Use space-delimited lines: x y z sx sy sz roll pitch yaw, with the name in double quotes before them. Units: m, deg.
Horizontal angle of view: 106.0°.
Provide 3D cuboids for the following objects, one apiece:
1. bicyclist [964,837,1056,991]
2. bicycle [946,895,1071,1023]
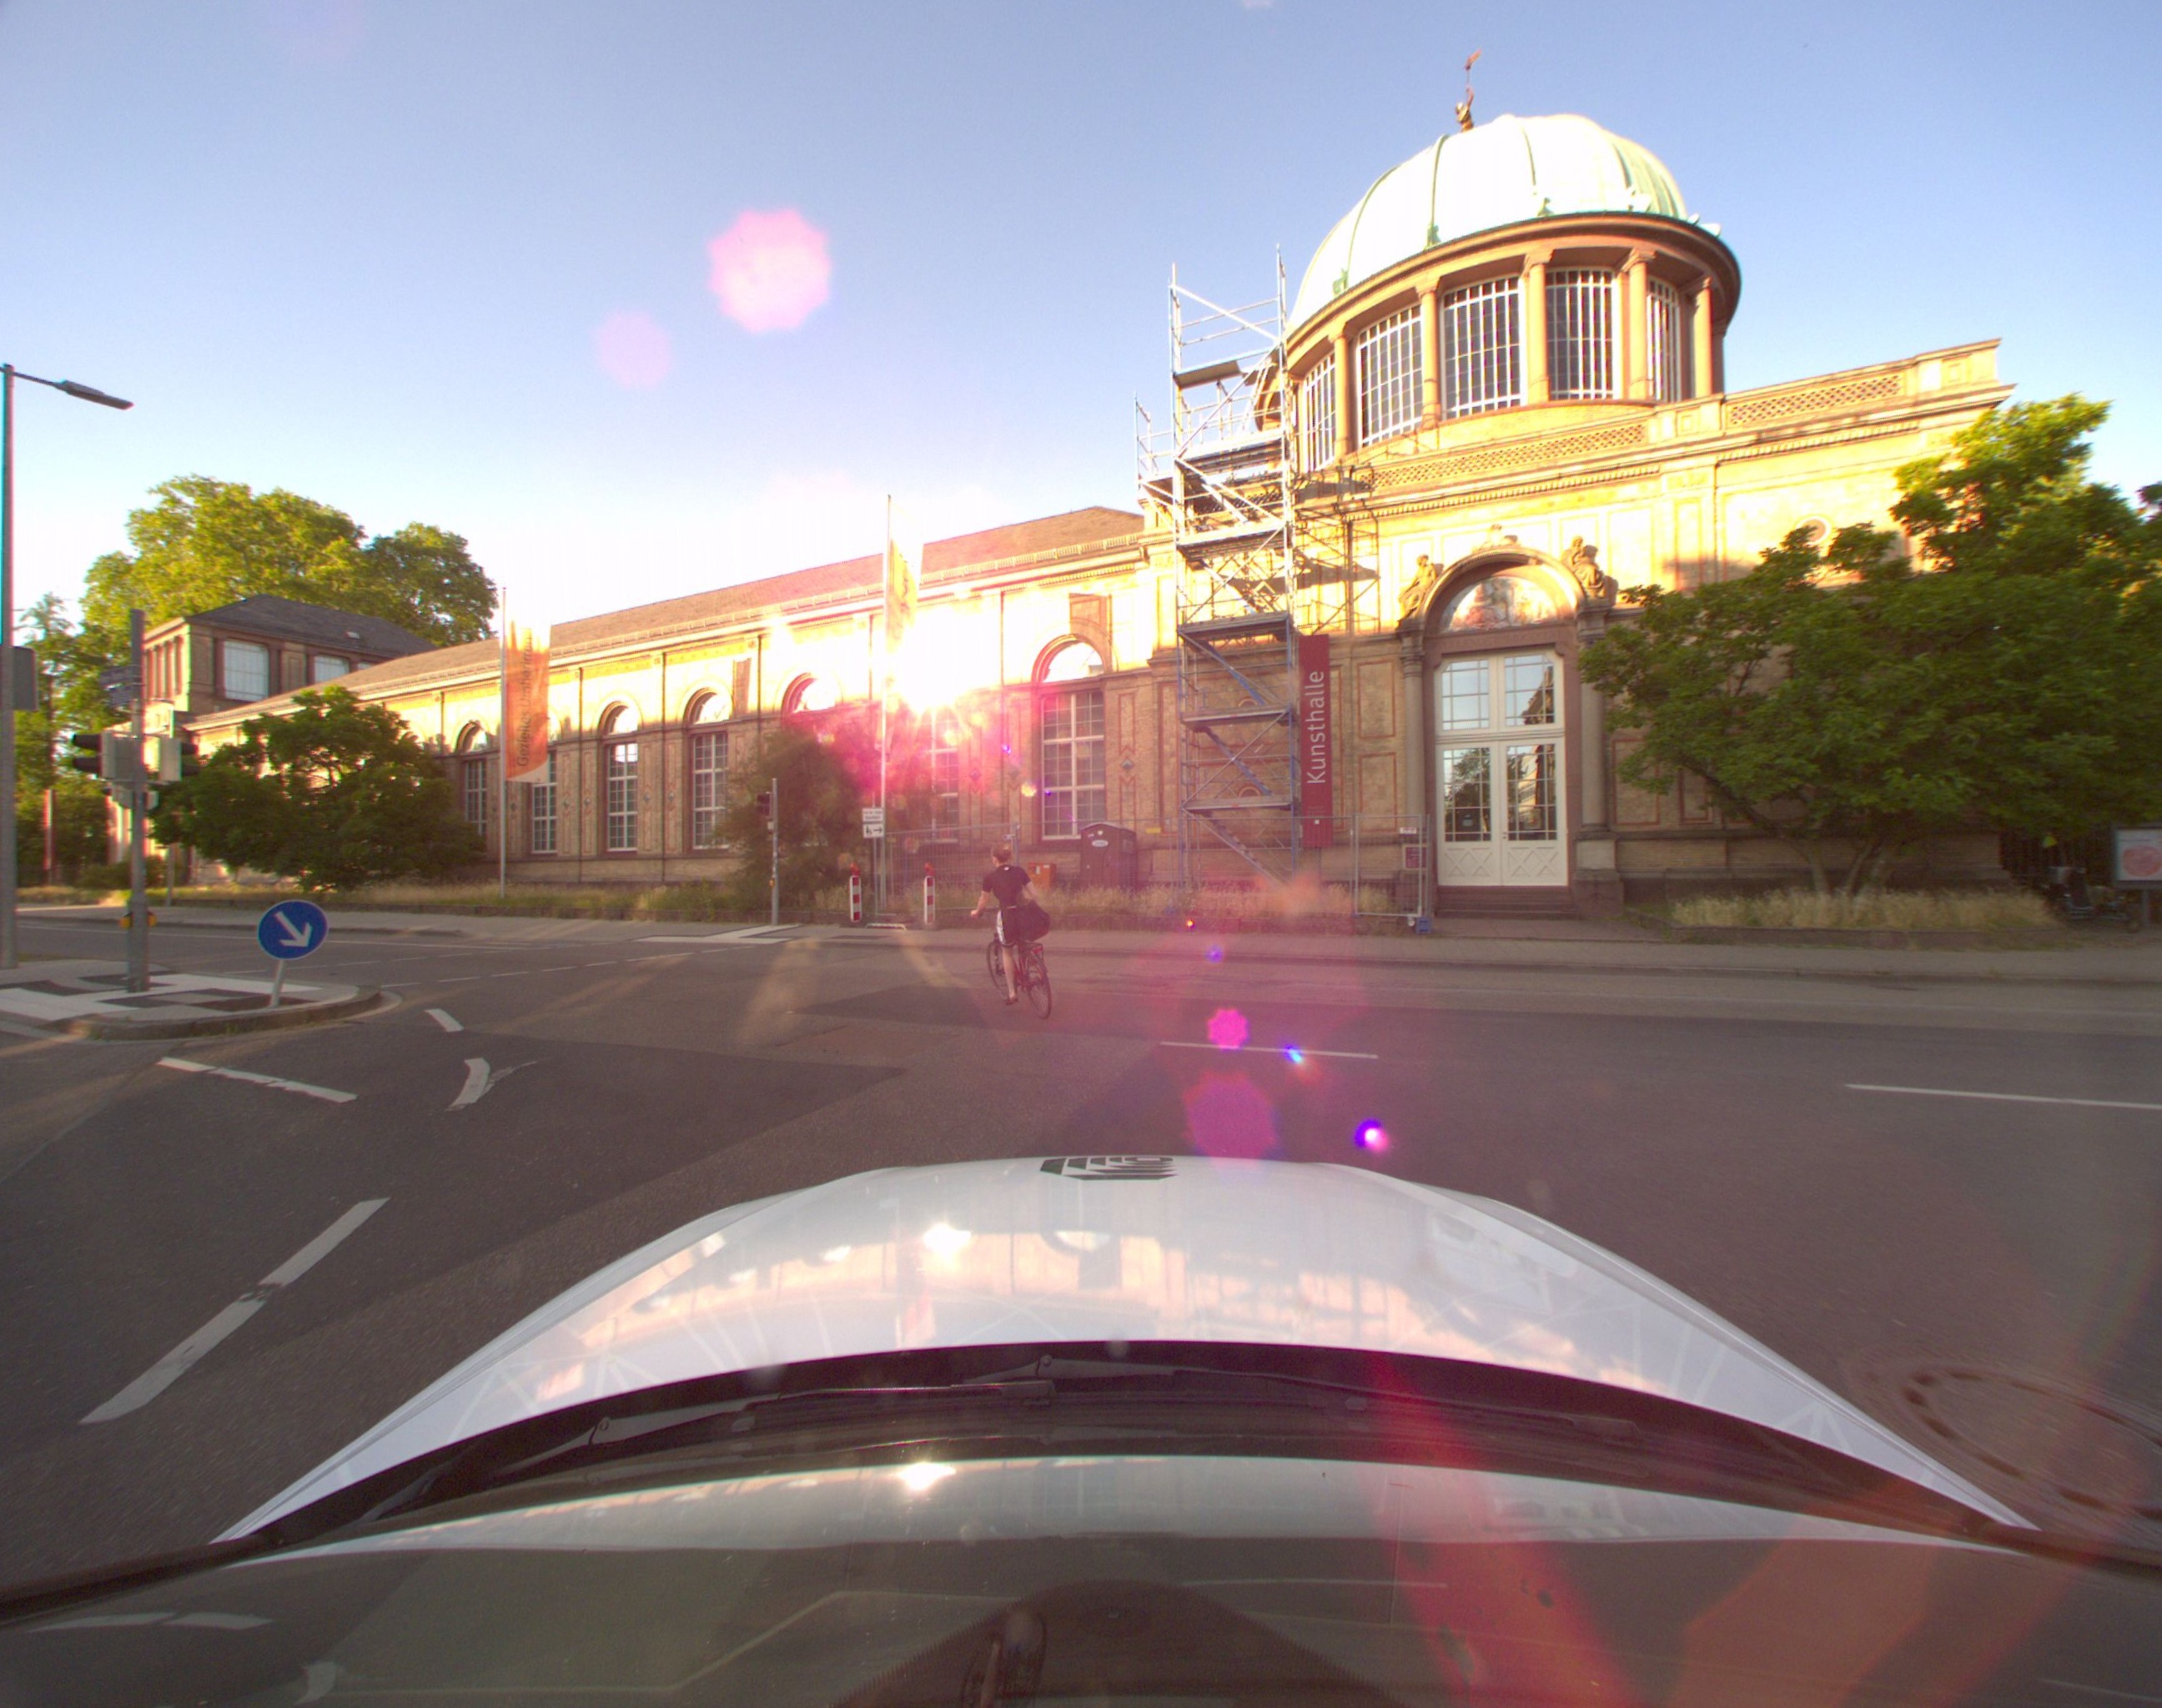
"bicyclist" -0.756 0.599 8.489 0.719 1.503 0.844 1 -2 -24
"bicycle" -0.829 1.026 8.636 0.714 1.156 2.052 1 -2 -23
